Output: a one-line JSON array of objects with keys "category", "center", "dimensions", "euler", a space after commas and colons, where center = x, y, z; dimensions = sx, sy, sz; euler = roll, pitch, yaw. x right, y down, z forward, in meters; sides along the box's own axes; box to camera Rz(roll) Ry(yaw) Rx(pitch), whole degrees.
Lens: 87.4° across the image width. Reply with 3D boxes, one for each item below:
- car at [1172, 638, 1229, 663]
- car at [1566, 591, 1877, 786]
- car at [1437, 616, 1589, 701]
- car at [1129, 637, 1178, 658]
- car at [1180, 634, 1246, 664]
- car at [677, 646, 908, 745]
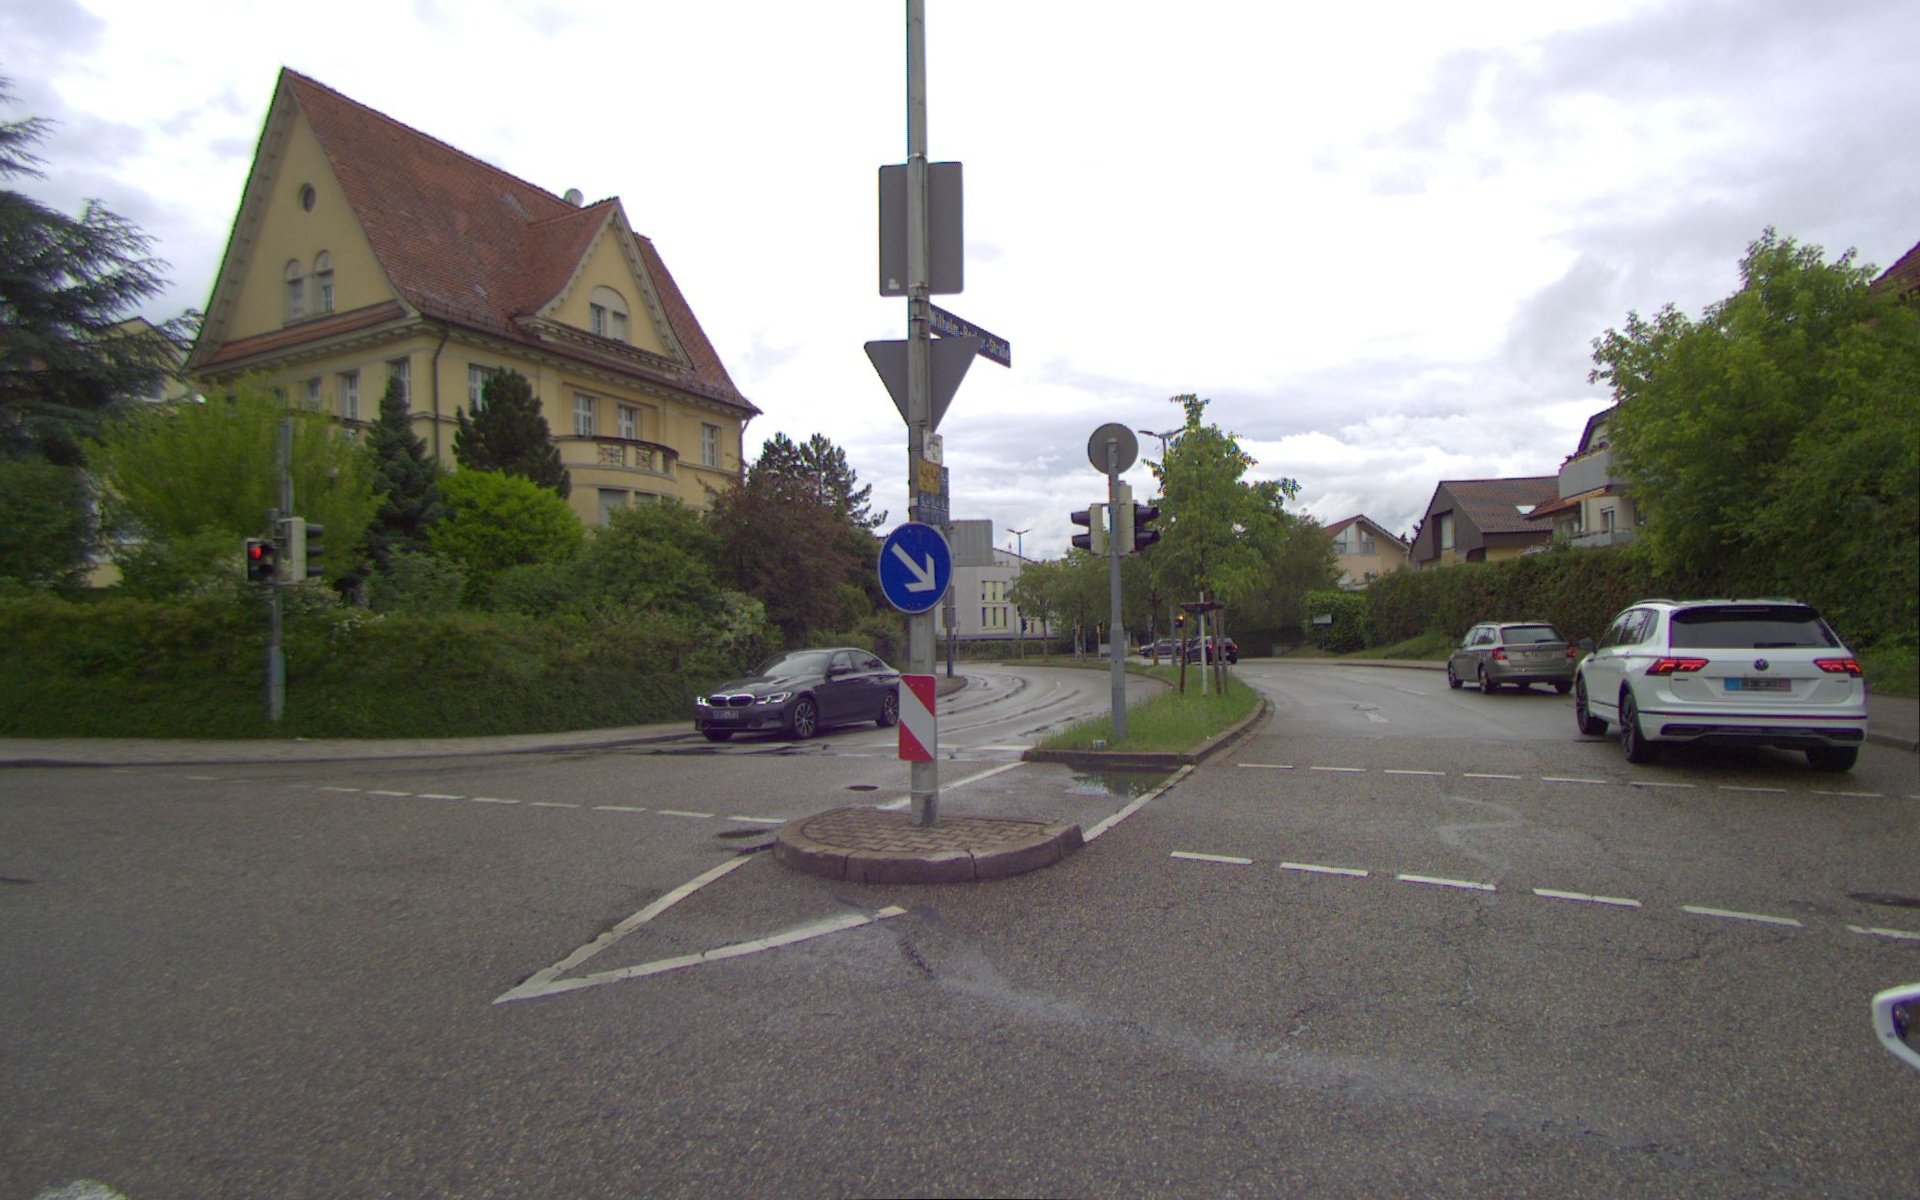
[{"category": "car", "center": [18.816, 3.948, 78.725], "dimensions": [4.001, 1.921, 1.729], "euler": [0, 0, -3]}, {"category": "car", "center": [8.098, 0.828, 11.155], "dimensions": [1.734, 1.718, 4.271], "euler": [0, -1, 23]}, {"category": "car", "center": [11.820, 1.178, 21.760], "dimensions": [1.768, 1.610, 3.928], "euler": [1, 0, 11]}, {"category": "car", "center": [17.313, 4.253, 89.973], "dimensions": [4.001, 1.547, 1.729], "euler": [-3, 0, -3]}, {"category": "car", "center": [13.321, 2.633, 53.211], "dimensions": [1.736, 1.498, 3.991], "euler": [0, -3, -13]}, {"category": "car", "center": [-2.616, 1.522, 16.835], "dimensions": [1.742, 1.411, 4.434], "euler": [-2, -4, 22]}]
